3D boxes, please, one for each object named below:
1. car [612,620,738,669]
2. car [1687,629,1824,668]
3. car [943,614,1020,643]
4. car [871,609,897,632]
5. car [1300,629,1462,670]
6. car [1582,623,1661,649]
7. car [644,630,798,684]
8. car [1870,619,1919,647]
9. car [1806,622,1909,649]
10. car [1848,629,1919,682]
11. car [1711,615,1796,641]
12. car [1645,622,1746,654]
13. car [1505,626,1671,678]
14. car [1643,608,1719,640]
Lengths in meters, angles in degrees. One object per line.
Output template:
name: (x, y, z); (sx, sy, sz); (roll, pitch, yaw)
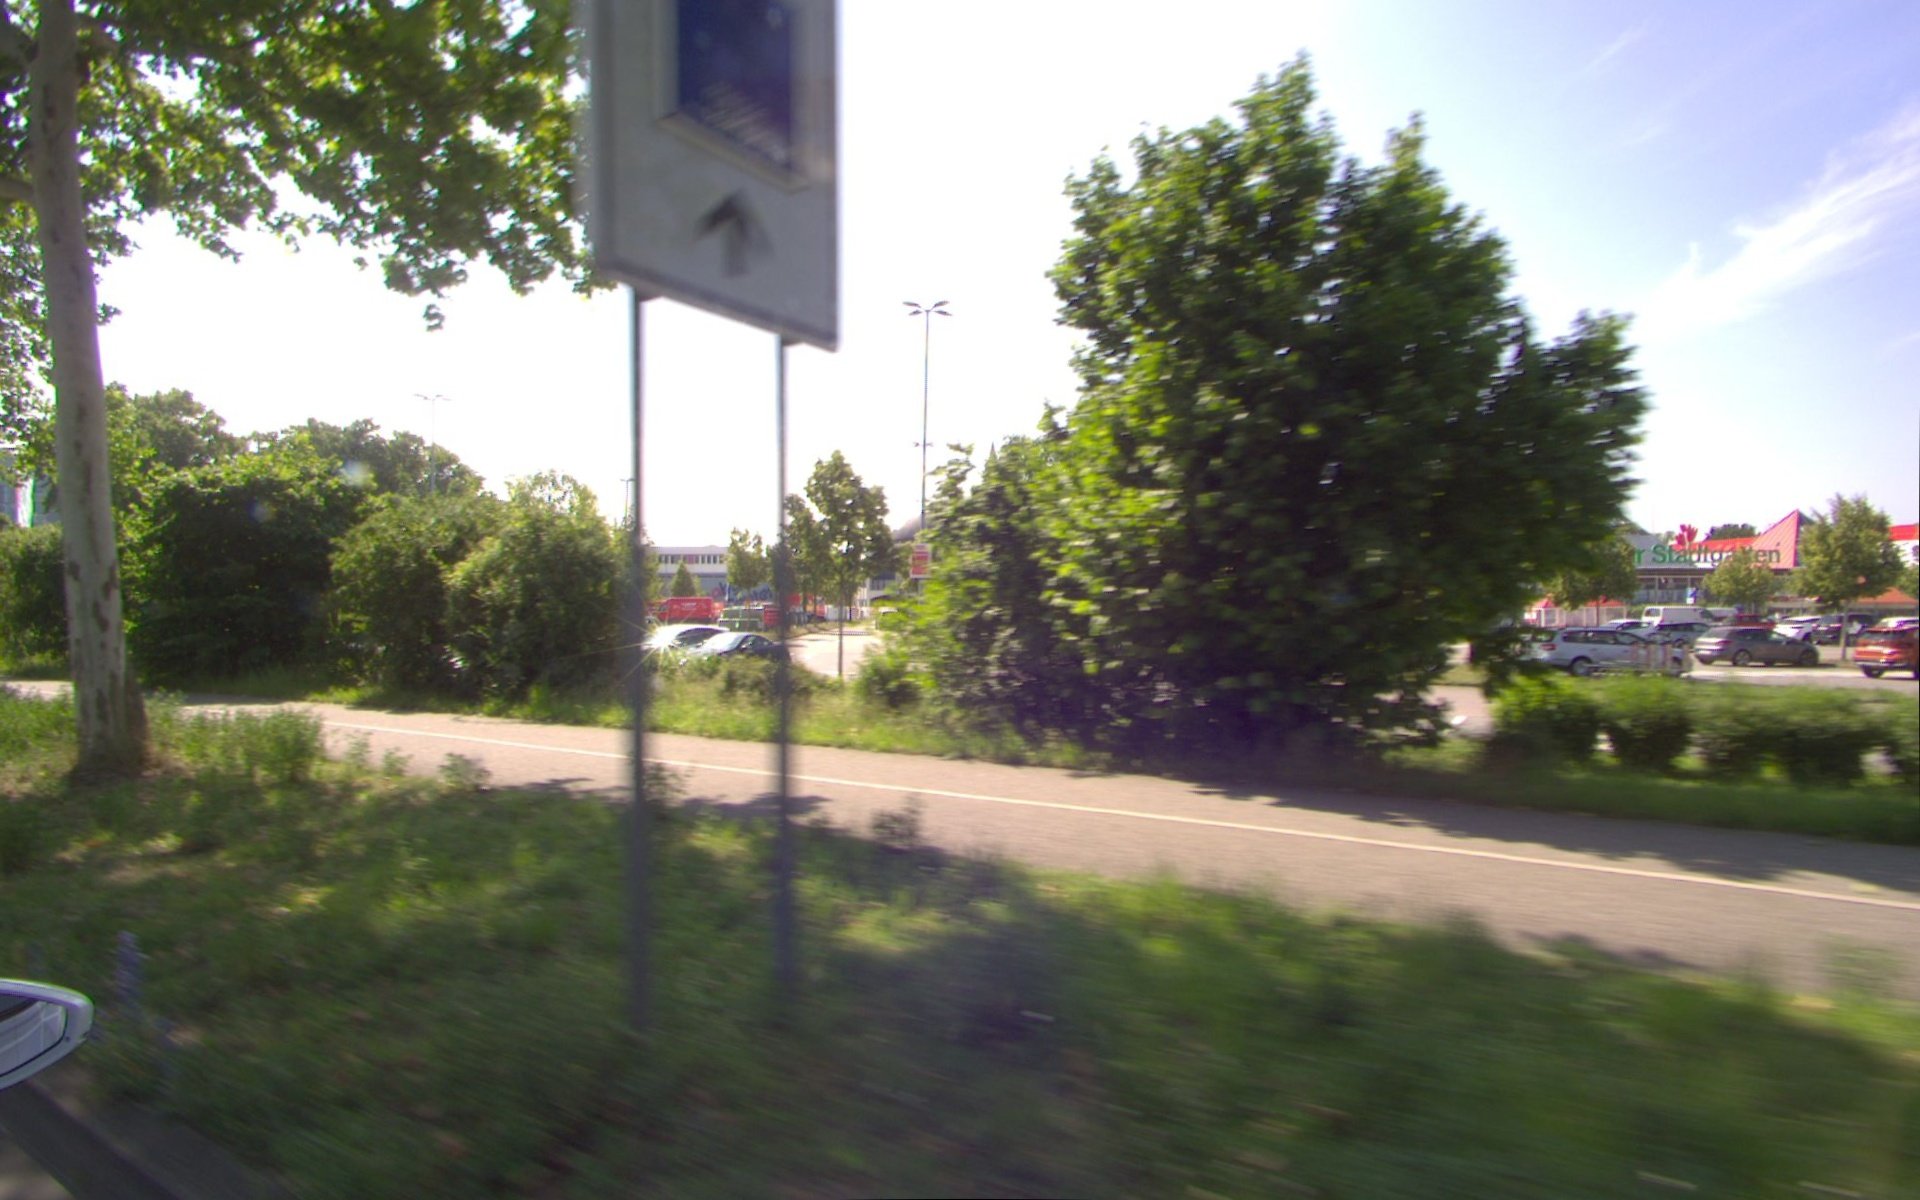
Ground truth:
car: (-8.130, 1.244, 28.726); (1.427, 1.327, 3.313); (0, -1, 36)
car: (29.545, 1.801, 37.253); (3.795, 1.382, 1.738); (1, -1, -2)
car: (1.094, 1.502, 51.846); (3.922, 1.438, 1.656); (1, -2, 0)
car: (-6.147, 1.651, 80.776); (1.961, 1.740, 4.000); (1, -1, -5)
car: (13.241, 1.543, 31.677); (4.423, 1.220, 1.644); (0, -1, 0)
car: (34.846, 1.889, 52.776); (3.304, 1.314, 1.312); (1, -1, -3)
car: (-6.378, 1.486, 27.059); (1.680, 1.327, 3.927); (0, -1, 36)
car: (47.044, 1.632, 48.855); (3.675, 1.326, 1.671); (1, -2, 2)
car: (45.726, 1.832, 51.059); (3.675, 1.326, 1.671); (1, -2, 2)
car: (29.509, 1.670, 30.246); (3.970, 1.523, 1.794); (1, -1, -5)
car: (46.139, 1.629, 58.238); (3.787, 1.456, 1.530); (1, -1, -3)
car: (35.348, 1.824, 48.183); (3.787, 1.456, 1.530); (1, -1, -3)
car: (18.540, 1.518, 29.673); (3.751, 1.288, 1.785); (3, -1, 0)
car: (45.681, 1.506, 63.514); (3.787, 1.972, 1.530); (1, -1, -3)
